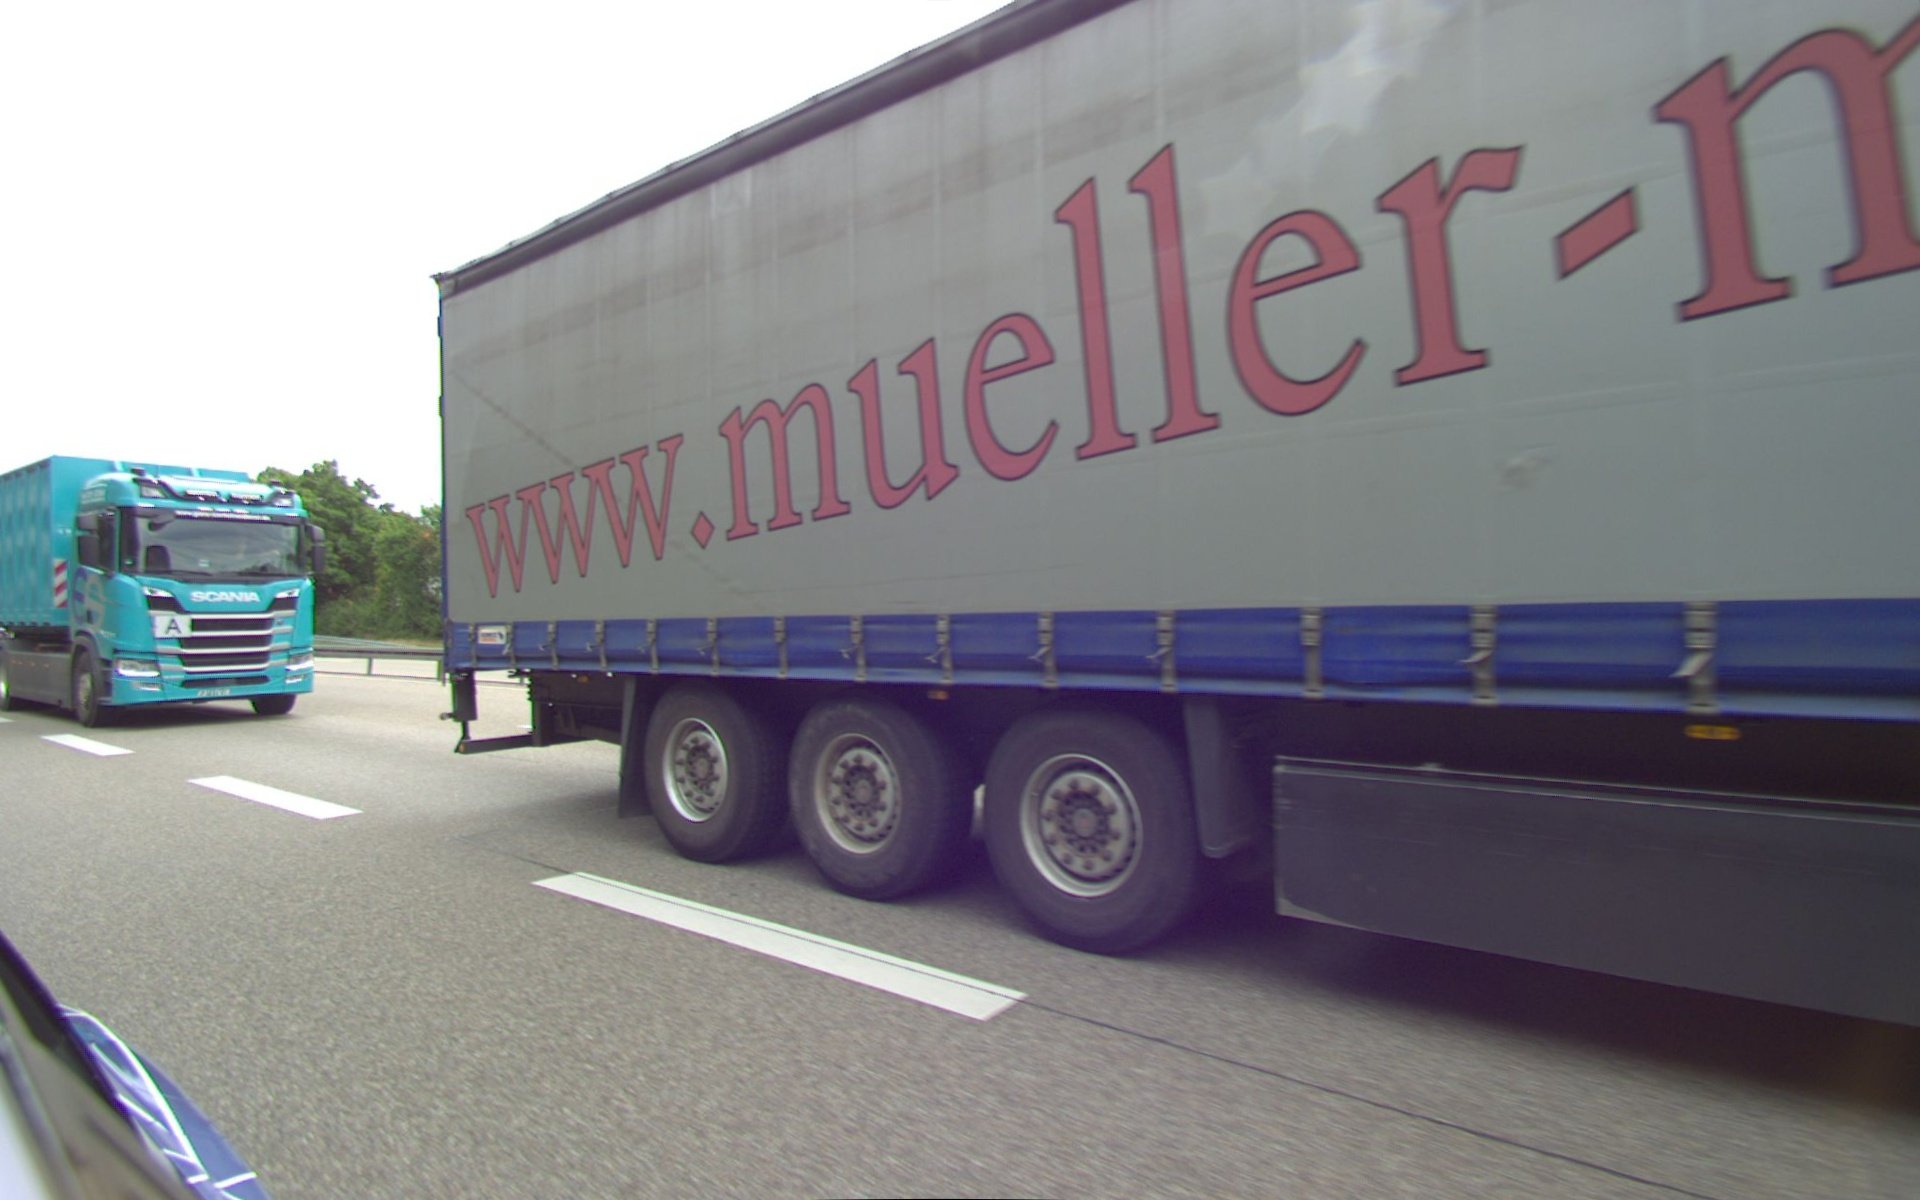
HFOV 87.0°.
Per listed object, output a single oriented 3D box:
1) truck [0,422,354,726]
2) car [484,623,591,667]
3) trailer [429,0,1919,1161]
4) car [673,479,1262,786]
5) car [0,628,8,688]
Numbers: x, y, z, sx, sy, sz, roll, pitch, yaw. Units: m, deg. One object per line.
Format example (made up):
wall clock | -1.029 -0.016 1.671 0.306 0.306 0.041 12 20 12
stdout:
truck | -14.490 -0.185 17.247 11.307 3.825 2.903 -1 -3 36
car | -16.404 1.712 39.199 4.412 1.609 1.614 -1 -2 33
trailer | 2.094 -0.631 4.384 13.447 4.053 2.601 -1 0 39
car | -0.270 0.310 11.525 6.788 2.597 2.201 -1 0 38
car | -24.866 1.391 24.714 3.657 1.433 1.732 -1 -2 37
